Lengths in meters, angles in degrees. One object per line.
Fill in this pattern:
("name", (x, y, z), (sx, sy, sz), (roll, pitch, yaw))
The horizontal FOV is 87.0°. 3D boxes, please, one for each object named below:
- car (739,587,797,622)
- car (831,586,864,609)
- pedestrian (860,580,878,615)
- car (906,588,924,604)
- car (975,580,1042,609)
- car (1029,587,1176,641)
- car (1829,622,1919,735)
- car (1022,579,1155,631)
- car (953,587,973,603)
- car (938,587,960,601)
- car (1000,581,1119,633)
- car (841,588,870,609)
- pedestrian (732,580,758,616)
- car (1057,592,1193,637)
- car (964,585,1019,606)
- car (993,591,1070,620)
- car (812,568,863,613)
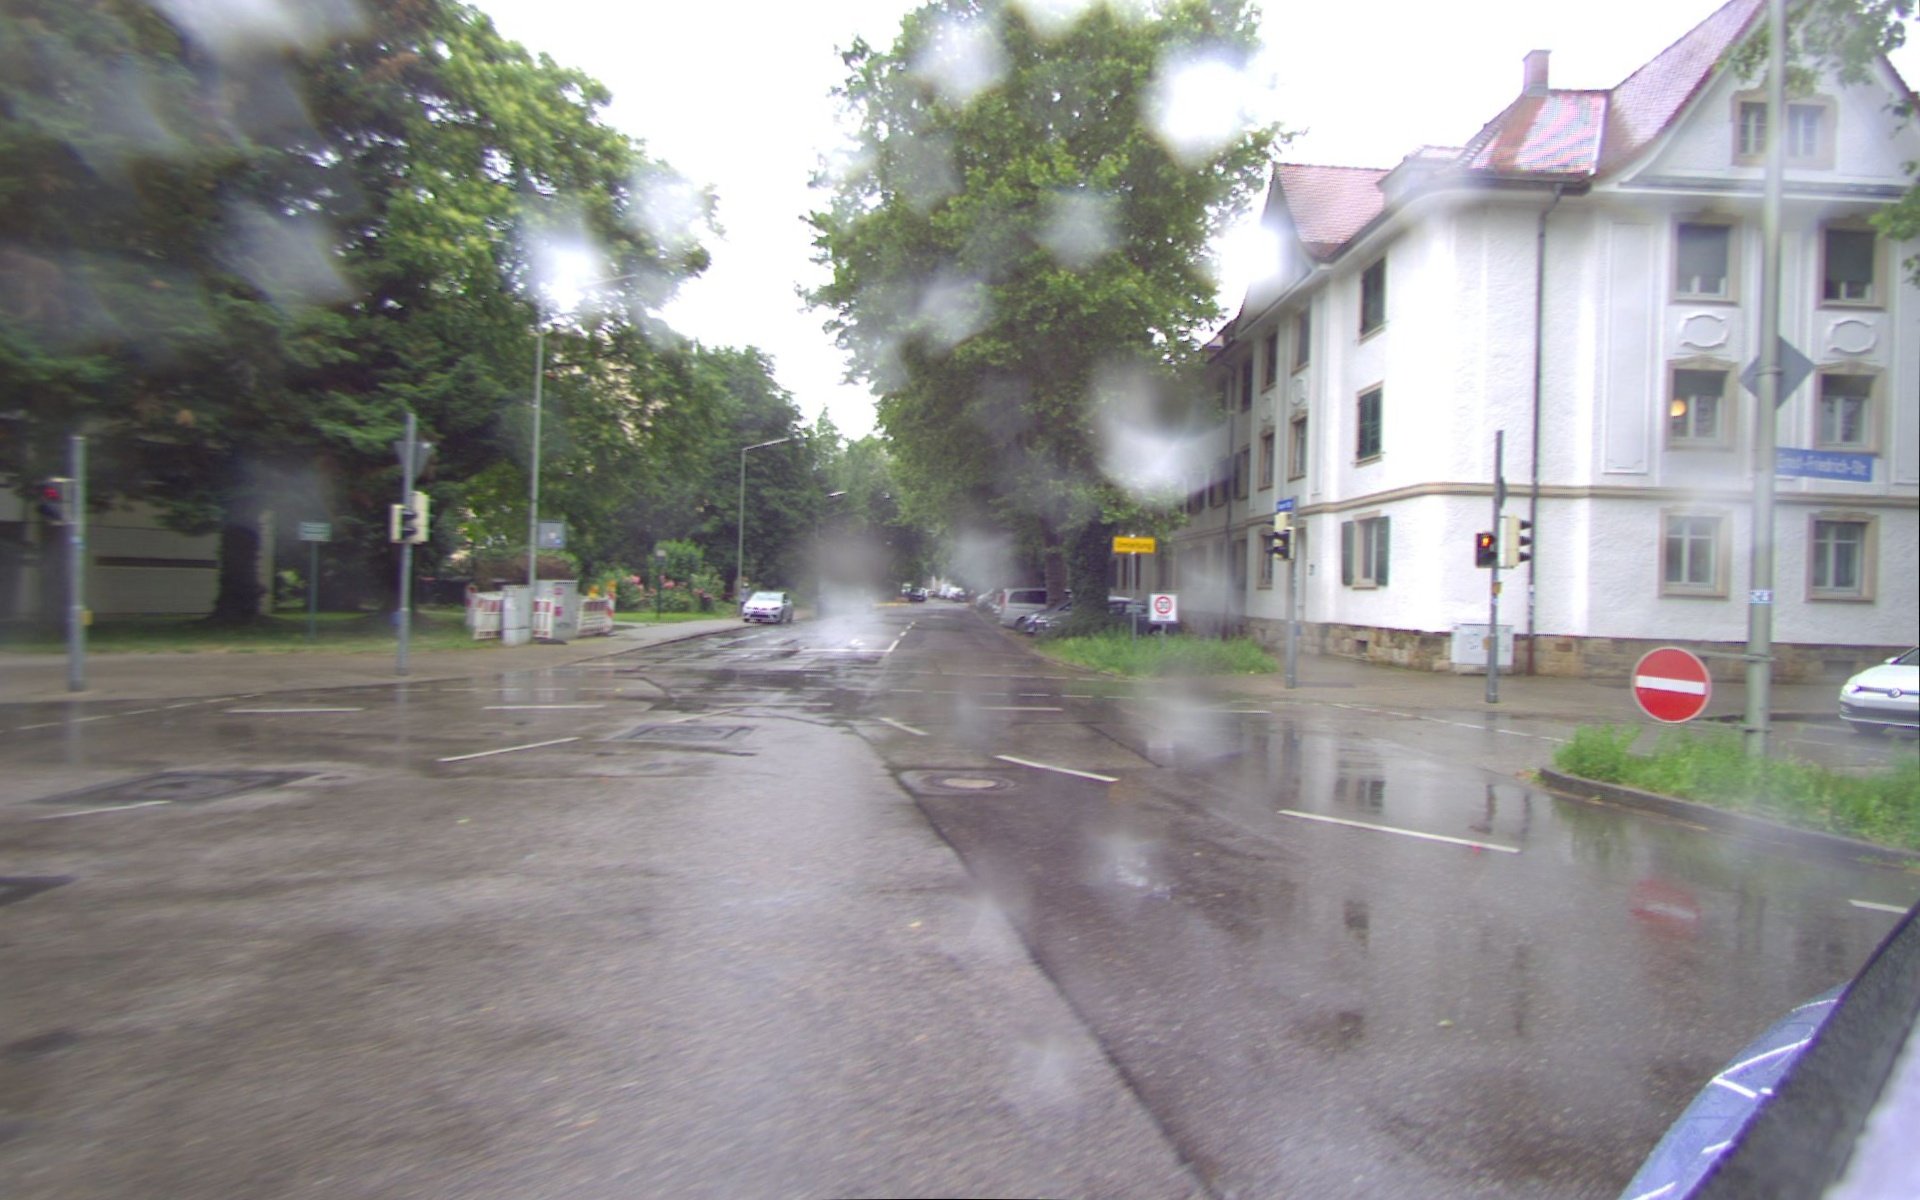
("car", (-8.699, 0.175, 46.195), (1.788, 1.478, 4.271), (1, 0, 1))
("car", (-7.967, -0.222, 71.802), (1.961, 1.558, 4.001), (1, 1, -1))
("pedestrian", (-5.696, -0.154, 63.162), (0.927, 2.088, 1.079), (2, 0, 3))
("car", (-5.394, -0.445, 120.129), (1.960, 1.829, 4.354), (1, 0, -4))
("car", (3.742, -0.460, 78.909), (4.994, 2.049, 2.033), (2, 0, 0))
("car", (4.827, 0.449, 34.777), (4.648, 1.643, 1.931), (2, 0, -2))
("car", (14.470, 1.062, 13.847), (4.306, 1.451, 1.786), (1, -1, -15))
("car", (4.665, 0.159, 37.326), (4.584, 1.712, 2.033), (2, 0, 0))
("car", (0.324, -0.650, 120.807), (1.960, 1.829, 4.004), (1, 0, -5))
("car", (-1.324, -0.709, 125.083), (1.958, 1.643, 3.702), (1, 0, -13))
("car", (3.985, 0.259, 41.220), (4.584, 1.897, 2.033), (2, 0, 0))
("car", (-8.130, -0.160, 79.036), (1.961, 1.558, 4.001), (1, 1, -1))
("pedestrian", (-10.361, -0.079, 48.779), (0.927, 1.681, 0.928), (2, 0, 3))
("car", (5.171, 0.446, 32.028), (3.921, 1.371, 1.799), (0, 0, -4))
("car", (2.678, -0.375, 87.020), (4.584, 1.625, 2.033), (2, 0, 0))
("car", (4.287, 0.339, 61.378), (4.444, 1.590, 2.033), (2, 0, 0))
("car", (-7.488, -0.580, 62.201), (2.357, 2.506, 5.691), (2, 0, 0))
